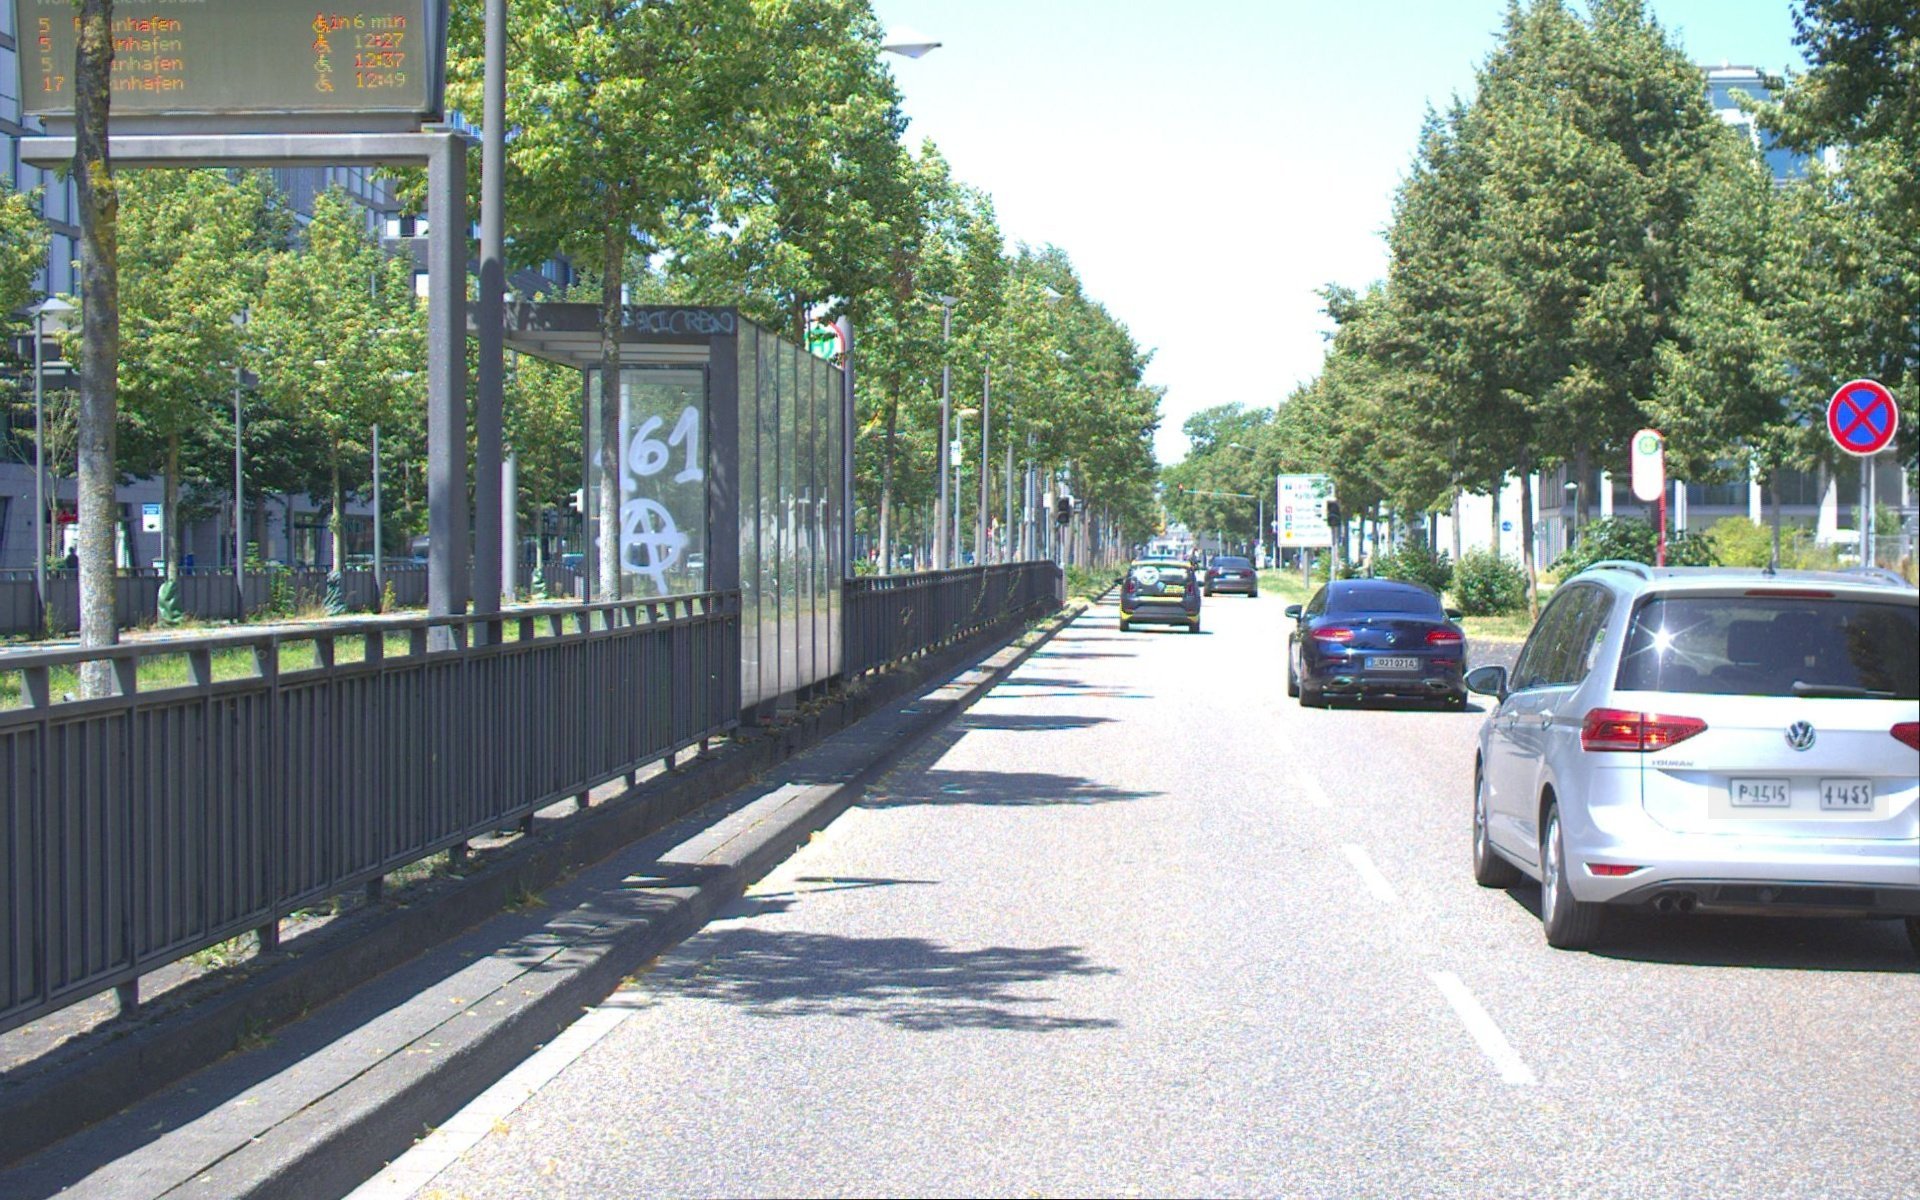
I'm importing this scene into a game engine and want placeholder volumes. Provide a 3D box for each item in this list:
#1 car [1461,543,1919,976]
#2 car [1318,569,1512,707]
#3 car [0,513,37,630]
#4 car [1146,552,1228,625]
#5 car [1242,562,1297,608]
[{"bbox_3d":[3.435,0.607,15.750,1.801,1.643,4.604,2,1,3],"label":"car"},{"bbox_3d":[4.994,0.396,38.268,1.852,1.431,4.954,0,0,4],"label":"car"},{"bbox_3d":[-16.073,-0.433,52.281,2.462,1.800,5.070,0,1,3],"label":"car"},{"bbox_3d":[4.621,-0.220,70.104,1.619,1.446,3.986,0,0,4],"label":"car"},{"bbox_3d":[11.040,-0.540,122.792,1.766,1.621,3.715,0,0,3],"label":"car"}]
